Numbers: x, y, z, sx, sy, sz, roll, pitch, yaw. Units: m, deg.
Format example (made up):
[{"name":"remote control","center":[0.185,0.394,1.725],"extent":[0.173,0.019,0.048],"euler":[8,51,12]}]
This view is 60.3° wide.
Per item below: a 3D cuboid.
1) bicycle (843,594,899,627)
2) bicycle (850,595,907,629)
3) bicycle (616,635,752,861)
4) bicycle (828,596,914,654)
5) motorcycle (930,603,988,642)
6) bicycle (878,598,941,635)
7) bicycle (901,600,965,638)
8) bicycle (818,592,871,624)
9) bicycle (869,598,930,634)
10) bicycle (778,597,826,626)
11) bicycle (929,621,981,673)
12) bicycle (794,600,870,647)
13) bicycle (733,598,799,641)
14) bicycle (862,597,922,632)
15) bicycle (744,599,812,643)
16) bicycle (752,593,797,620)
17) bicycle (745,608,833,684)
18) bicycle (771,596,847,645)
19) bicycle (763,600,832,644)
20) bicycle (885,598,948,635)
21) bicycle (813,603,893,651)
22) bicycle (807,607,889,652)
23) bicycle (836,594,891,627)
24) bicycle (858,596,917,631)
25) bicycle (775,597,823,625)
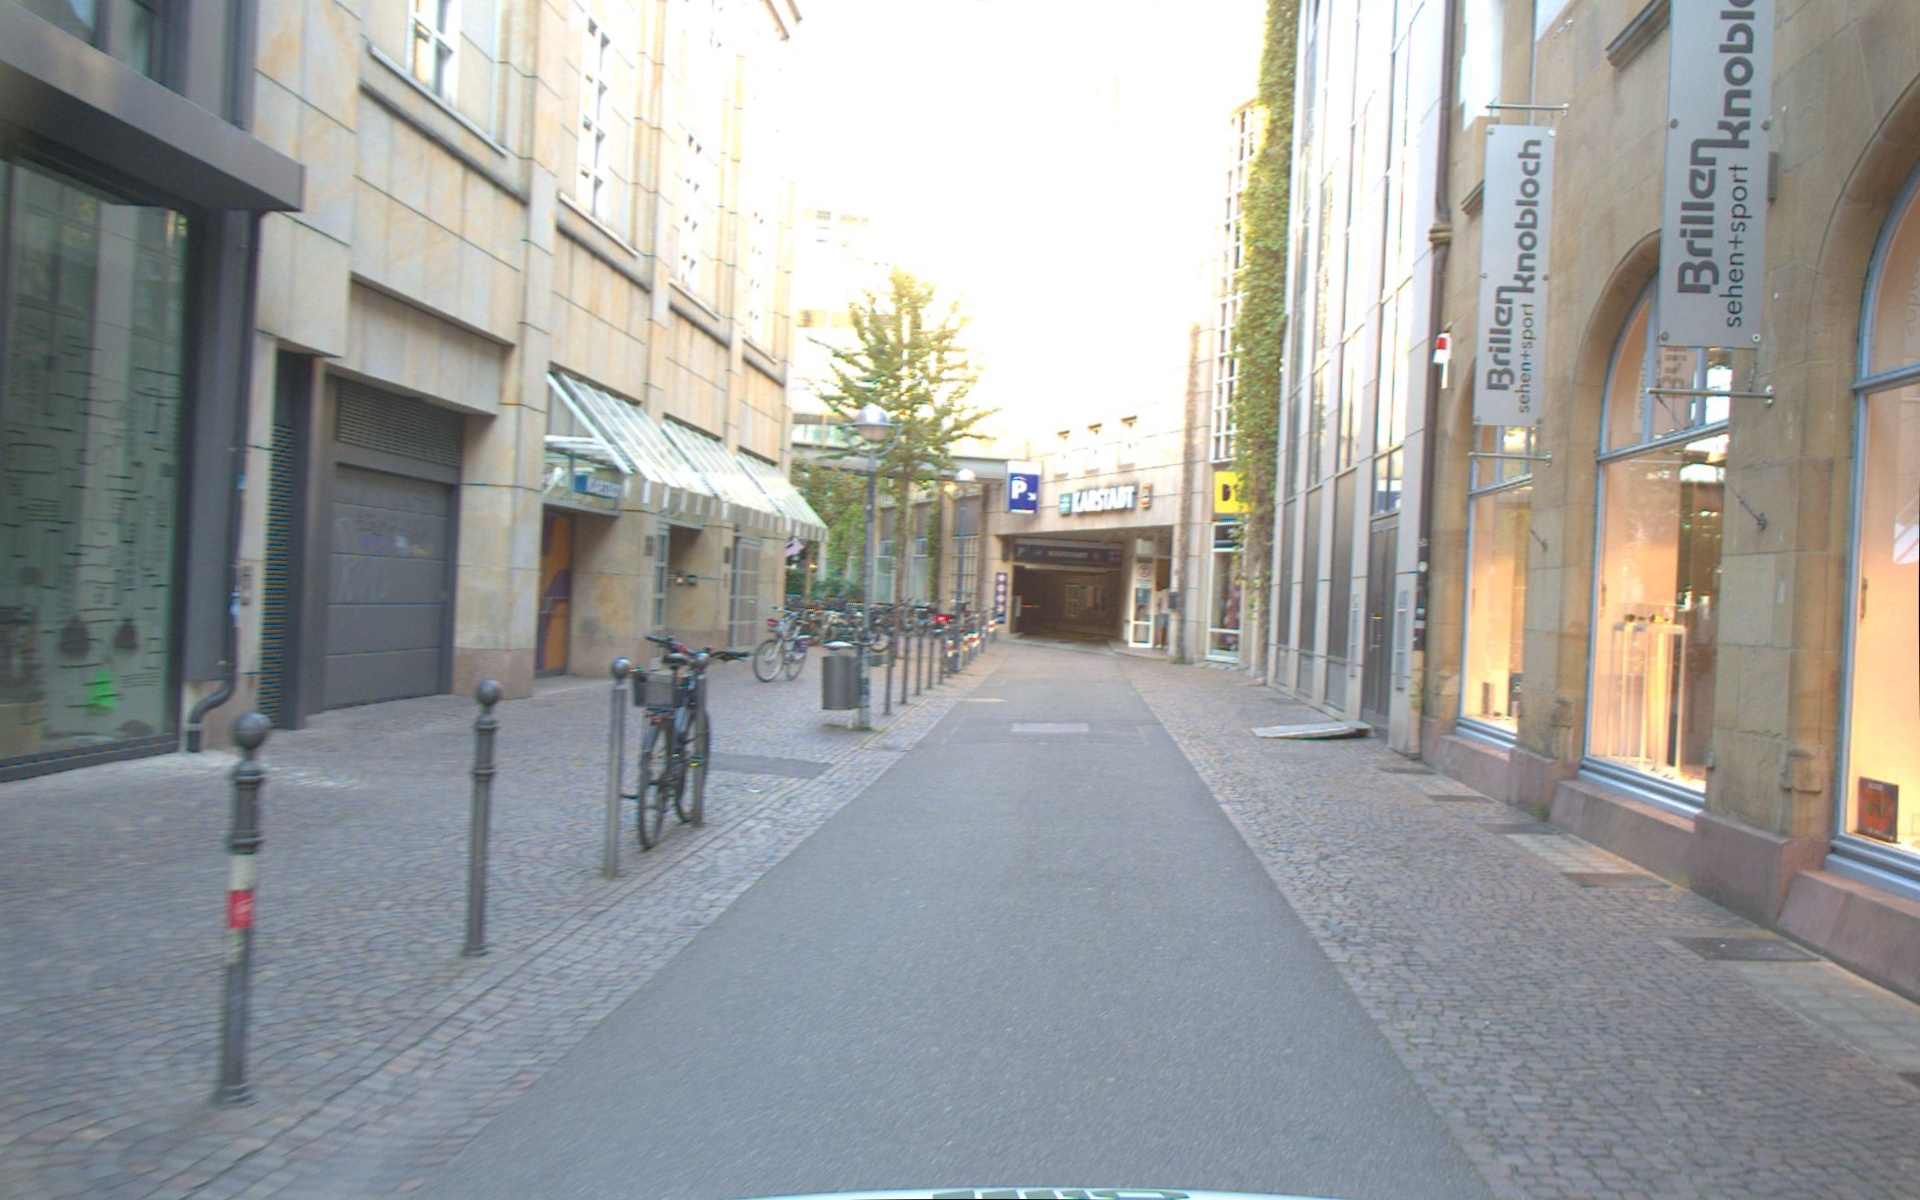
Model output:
[{"name":"bicycle","center":[-3.262,0.384,60.846],"extent":[1.961,1.203,0.691],"euler":[1,0,-16]},{"name":"bicycle","center":[-2.933,0.424,59.584],"extent":[1.961,1.203,0.691],"euler":[1,0,-16]},{"name":"bicycle","center":[-1.605,0.815,9.846],"extent":[0.402,1.152,1.931],"euler":[3,0,1]},{"name":"bicycle","center":[-2.127,0.595,39.409],"extent":[1.882,1.283,0.805],"euler":[2,0,-16]},{"name":"motorcycle","center":[-0.020,0.691,51.499],"extent":[1.716,1.175,0.592],"euler":[1,0,-13]},{"name":"bicycle","center":[-1.694,0.542,55.033],"extent":[1.961,1.203,0.799],"euler":[1,0,-16]},{"name":"bicycle","center":[-0.865,0.611,53.183],"extent":[1.961,1.203,0.693],"euler":[1,0,-16]},{"name":"bicycle","center":[-4.497,0.316,64.369],"extent":[1.961,1.203,0.691],"euler":[1,0,-16]},{"name":"bicycle","center":[-2.060,0.531,56.193],"extent":[1.961,1.203,0.799],"euler":[1,0,-16]},{"name":"bicycle","center":[-6.708,0.492,70.194],"extent":[1.961,1.203,0.691],"euler":[1,0,-16]},{"name":"bicycle","center":[-0.086,0.926,32.914],"extent":[0.494,0.983,1.695],"euler":[2,0,19]},{"name":"bicycle","center":[-3.331,0.609,43.016],"extent":[1.880,1.121,0.694],"euler":[2,0,-13]},{"name":"bicycle","center":[-5.818,0.573,49.570],"extent":[1.880,1.203,0.694],"euler":[2,0,-13]},{"name":"bicycle","center":[-2.390,0.508,57.673],"extent":[1.961,1.203,0.799],"euler":[1,0,-16]},{"name":"bicycle","center":[-5.334,0.602,48.494],"extent":[1.880,1.203,0.694],"euler":[2,0,-13]},{"name":"bicycle","center":[-8.462,0.316,75.623],"extent":[1.961,1.203,0.691],"euler":[1,0,-16]},{"name":"bicycle","center":[-2.682,0.713,26.155],"extent":[0.679,1.131,1.777],"euler":[2,0,19]},{"name":"bicycle","center":[-4.020,0.542,43.964],"extent":[1.880,1.203,0.694],"euler":[2,0,-13]},{"name":"bicycle","center":[-4.687,0.634,47.711],"extent":[1.880,1.203,0.694],"euler":[2,0,-13]},{"name":"bicycle","center":[-1.421,0.540,54.131],"extent":[1.961,1.203,0.693],"euler":[1,0,-16]},{"name":"bicycle","center":[-2.695,0.677,41.784],"extent":[1.882,1.121,0.693],"euler":[2,0,-16]},{"name":"bicycle","center":[-2.762,0.734,40.867],"extent":[1.882,1.011,0.693],"euler":[2,0,-16]},{"name":"bicycle","center":[-3.625,0.388,61.946],"extent":[1.961,1.203,0.691],"euler":[1,0,-16]},{"name":"bicycle","center":[-2.576,0.476,58.676],"extent":[1.961,1.203,0.691],"euler":[1,0,-16]},{"name":"bicycle","center":[-6.922,0.467,71.021],"extent":[1.961,1.203,0.691],"euler":[1,0,-16]}]
